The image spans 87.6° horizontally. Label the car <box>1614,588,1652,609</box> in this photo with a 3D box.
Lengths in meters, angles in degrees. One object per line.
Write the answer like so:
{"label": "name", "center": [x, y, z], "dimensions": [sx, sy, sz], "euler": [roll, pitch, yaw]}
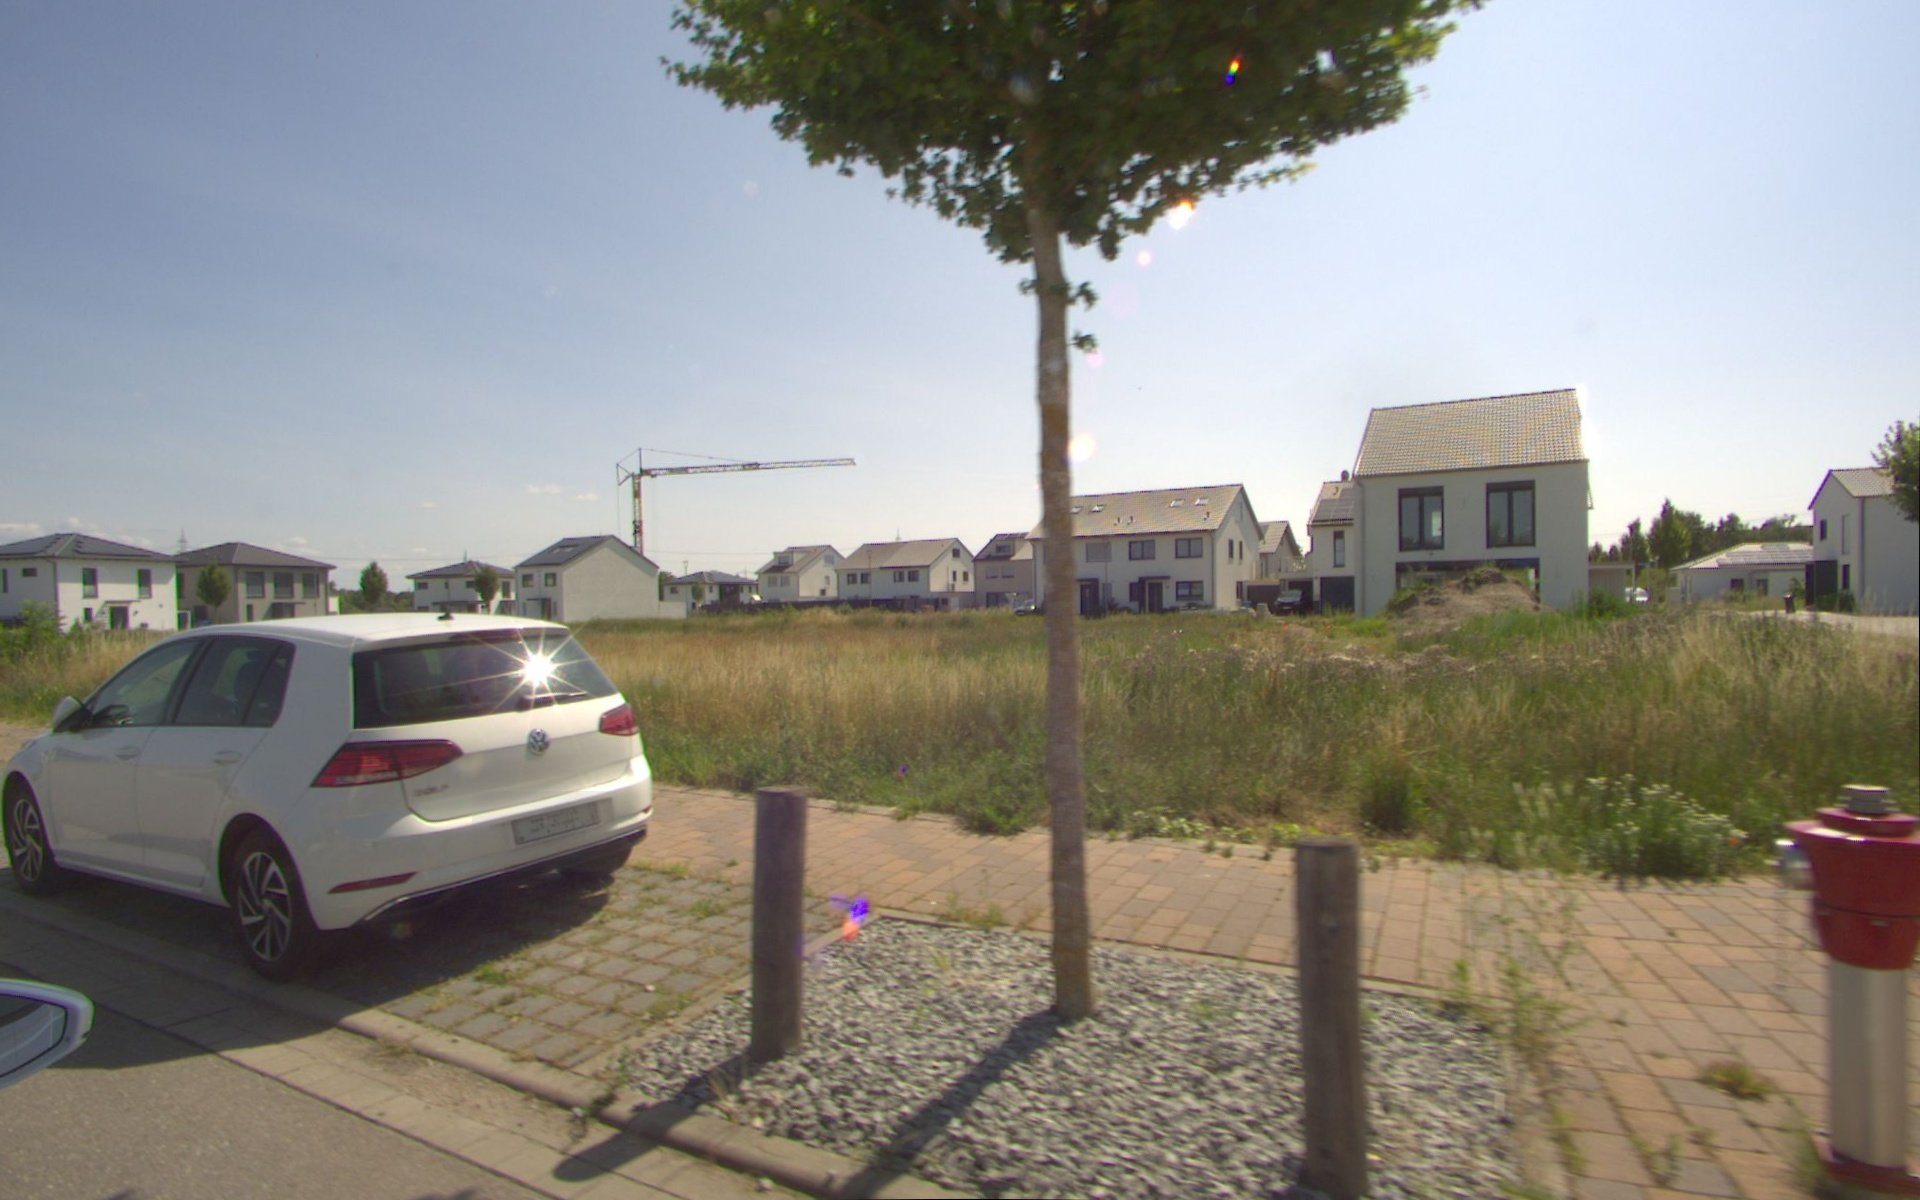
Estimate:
{"label": "car", "center": [49.142, -0.115, 73.162], "dimensions": [1.896, 1.439, 4.401], "euler": [-1, 0, 29]}

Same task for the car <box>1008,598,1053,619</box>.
{"label": "car", "center": [5.573, 0.686, 78.819], "dimensions": [1.790, 1.595, 3.977], "euler": [-1, 0, 33]}

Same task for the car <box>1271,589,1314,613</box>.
{"label": "car", "center": [22.624, 0.046, 68.008], "dimensions": [1.790, 1.532, 3.977], "euler": [-1, 0, 33]}

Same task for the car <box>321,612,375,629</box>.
{"label": "car", "center": [-54.686, 1.783, 89.511], "dimensions": [1.719, 1.416, 3.994], "euler": [-2, -1, 16]}

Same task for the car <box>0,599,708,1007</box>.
{"label": "car", "center": [-3.534, 0.761, 5.464], "dimensions": [4.103, 1.439, 1.772], "euler": [0, 2, 30]}
